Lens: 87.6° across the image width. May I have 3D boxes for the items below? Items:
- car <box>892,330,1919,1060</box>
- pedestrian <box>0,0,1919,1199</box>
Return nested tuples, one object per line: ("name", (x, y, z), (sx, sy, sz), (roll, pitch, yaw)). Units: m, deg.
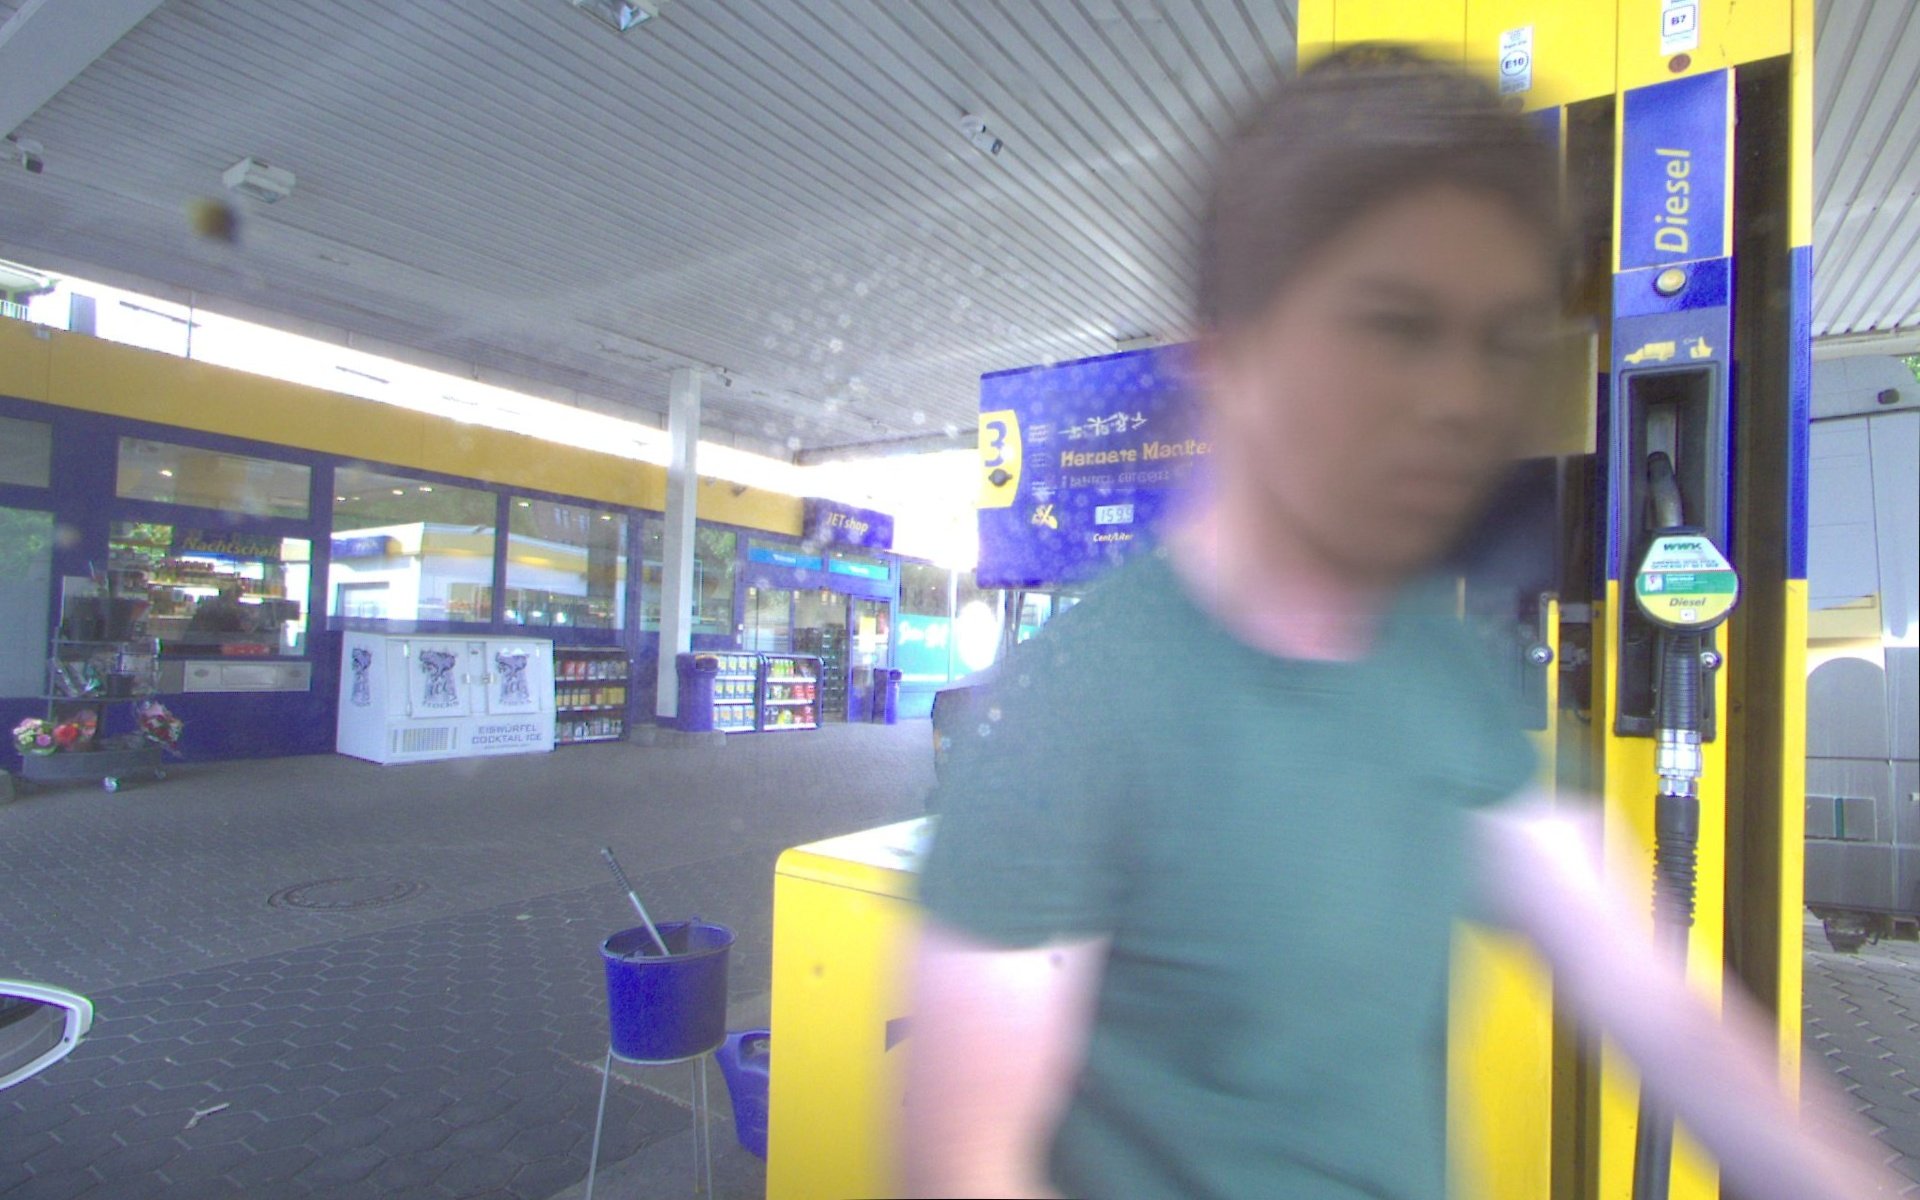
("car", (2.352, 0.436, 5.997), (5.271, 2.759, 2.193), (-1, -3, 34))
("pedestrian", (0.228, 0.564, 0.616), (1.167, 1.750, 0.988), (-2, -2, 35))
